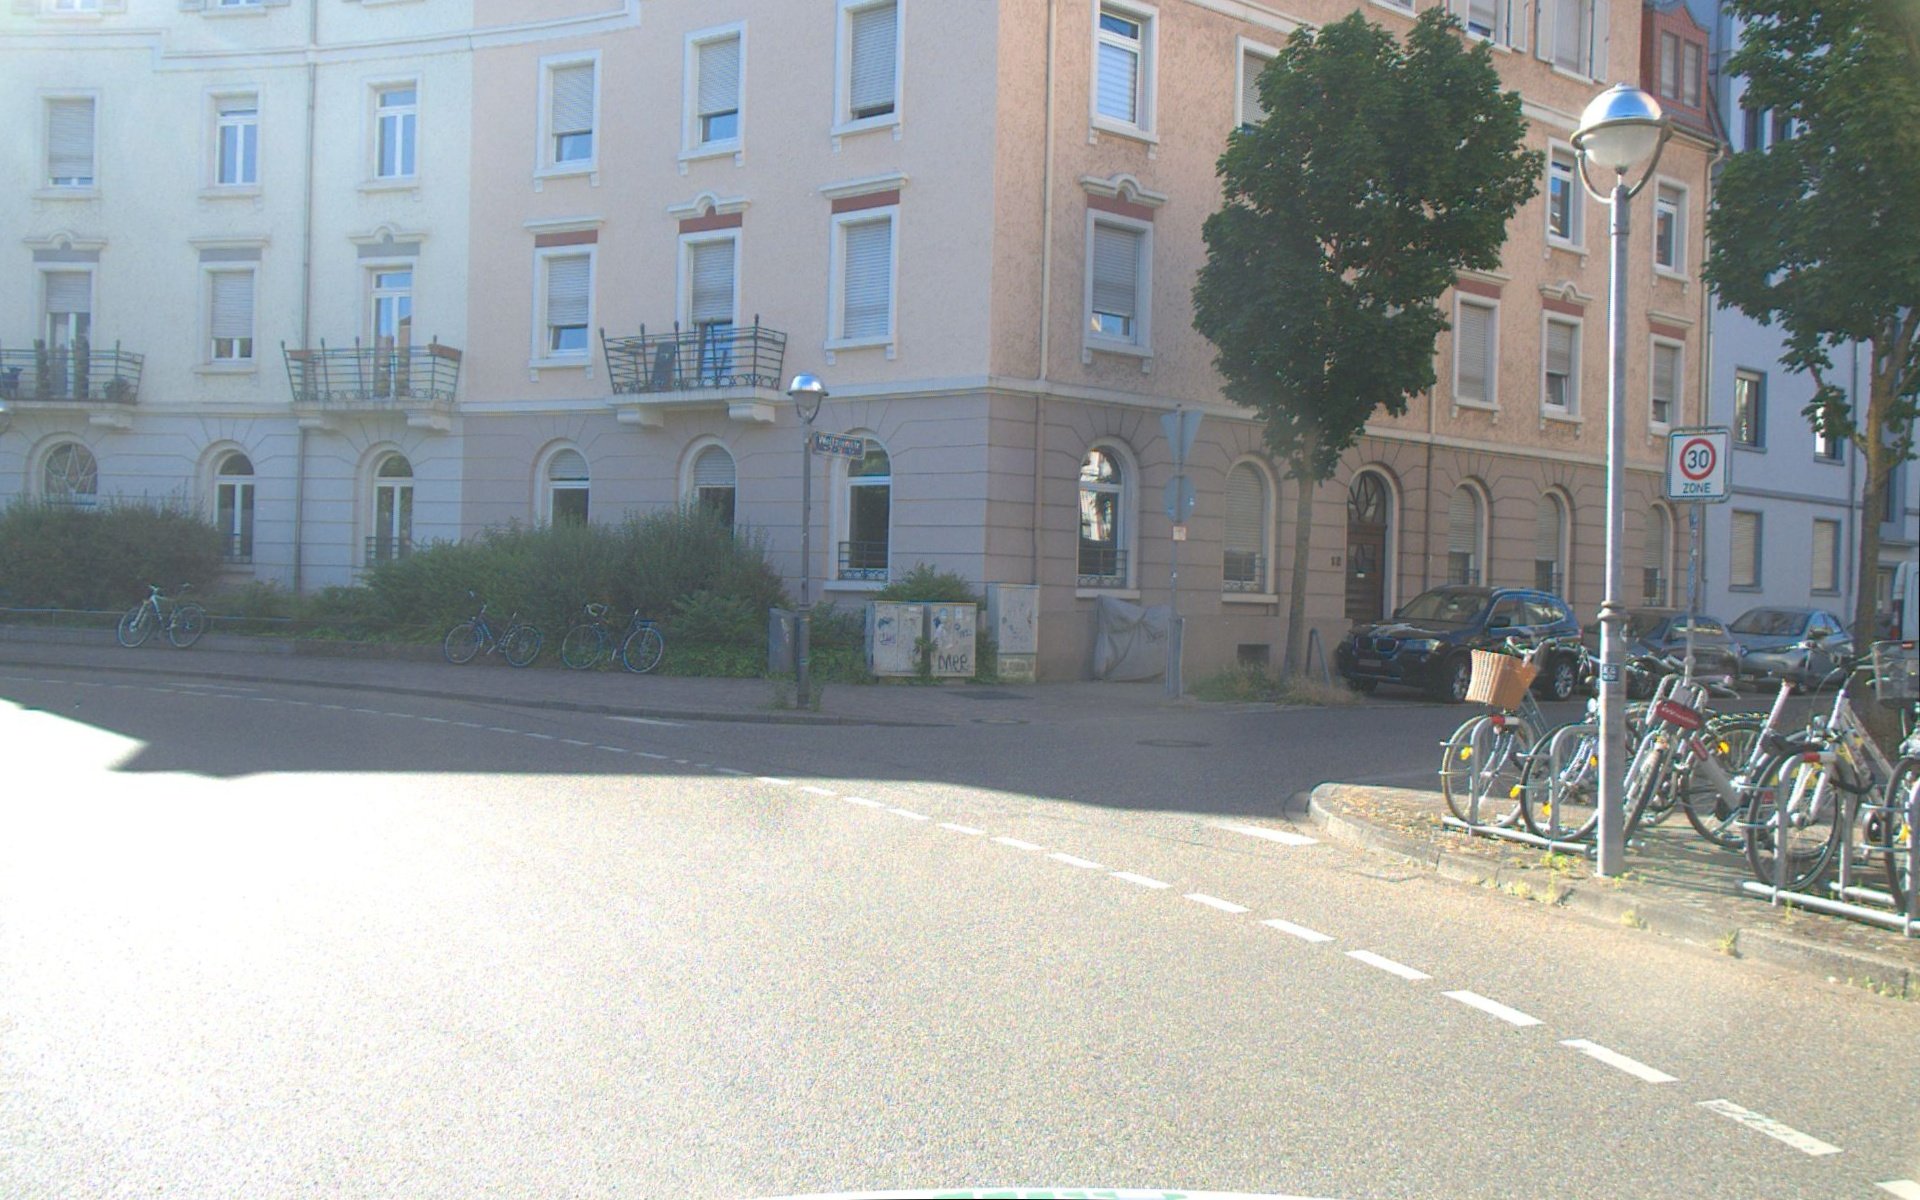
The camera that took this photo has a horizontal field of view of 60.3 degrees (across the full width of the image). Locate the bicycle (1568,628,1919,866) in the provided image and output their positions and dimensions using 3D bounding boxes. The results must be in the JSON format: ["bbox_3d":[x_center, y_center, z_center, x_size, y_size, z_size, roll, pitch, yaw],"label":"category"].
[{"bbox_3d":[4.135,0.751,8.731,1.662,1.165,0.635,1,0,-14],"label":"bicycle"}]

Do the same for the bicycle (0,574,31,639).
[{"bbox_3d":[-17.169,0.115,29.046,0.488,1.127,1.684,1,1,12],"label":"bicycle"}]

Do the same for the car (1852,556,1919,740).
[{"bbox_3d":[12.059,0.555,18.690,4.522,1.942,2.109,2,0,-42],"label":"car"}]

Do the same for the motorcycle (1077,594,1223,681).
[{"bbox_3d":[2.926,0.566,25.377,2.129,1.241,0.931,1,2,-36],"label":"motorcycle"}]

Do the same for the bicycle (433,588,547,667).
[{"bbox_3d":[-6.947,0.394,24.442,1.646,1.107,0.503,1,2,20],"label":"bicycle"}]

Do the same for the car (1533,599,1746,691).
[{"bbox_3d":[11.497,0.750,27.927,3.622,1.436,1.680,2,0,-36],"label":"car"}]

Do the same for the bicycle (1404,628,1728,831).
[{"bbox_3d":[3.677,0.767,10.037,1.834,1.149,0.695,2,-1,-20],"label":"bicycle"}]

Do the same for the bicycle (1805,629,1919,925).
[{"bbox_3d":[4.561,0.751,7.359,1.667,1.212,0.448,1,0,-23],"label":"bicycle"}]

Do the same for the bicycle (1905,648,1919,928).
[{"bbox_3d":[4.768,0.786,6.930,1.667,1.143,0.480,1,0,-22],"label":"bicycle"}]

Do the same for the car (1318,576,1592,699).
[{"bbox_3d":[7.500,0.547,24.890,4.305,1.670,1.882,2,0,-40],"label":"car"}]

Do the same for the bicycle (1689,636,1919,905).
[{"bbox_3d":[4.345,0.769,7.872,1.667,1.165,0.613,1,0,-22],"label":"bicycle"}]

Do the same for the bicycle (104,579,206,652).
[{"bbox_3d":[-12.967,0.242,26.641,1.647,1.107,0.502,1,2,23],"label":"bicycle"}]

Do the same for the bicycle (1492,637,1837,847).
[{"bbox_3d":[3.971,0.781,9.328,1.841,1.109,0.534,1,0,-14],"label":"bicycle"}]

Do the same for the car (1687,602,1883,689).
[{"bbox_3d":[15.652,0.853,31.323,3.958,1.512,1.680,2,0,-36],"label":"car"}]

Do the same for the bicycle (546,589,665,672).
[{"bbox_3d":[-5.055,0.426,23.550,1.646,1.107,0.503,1,2,20],"label":"bicycle"}]
